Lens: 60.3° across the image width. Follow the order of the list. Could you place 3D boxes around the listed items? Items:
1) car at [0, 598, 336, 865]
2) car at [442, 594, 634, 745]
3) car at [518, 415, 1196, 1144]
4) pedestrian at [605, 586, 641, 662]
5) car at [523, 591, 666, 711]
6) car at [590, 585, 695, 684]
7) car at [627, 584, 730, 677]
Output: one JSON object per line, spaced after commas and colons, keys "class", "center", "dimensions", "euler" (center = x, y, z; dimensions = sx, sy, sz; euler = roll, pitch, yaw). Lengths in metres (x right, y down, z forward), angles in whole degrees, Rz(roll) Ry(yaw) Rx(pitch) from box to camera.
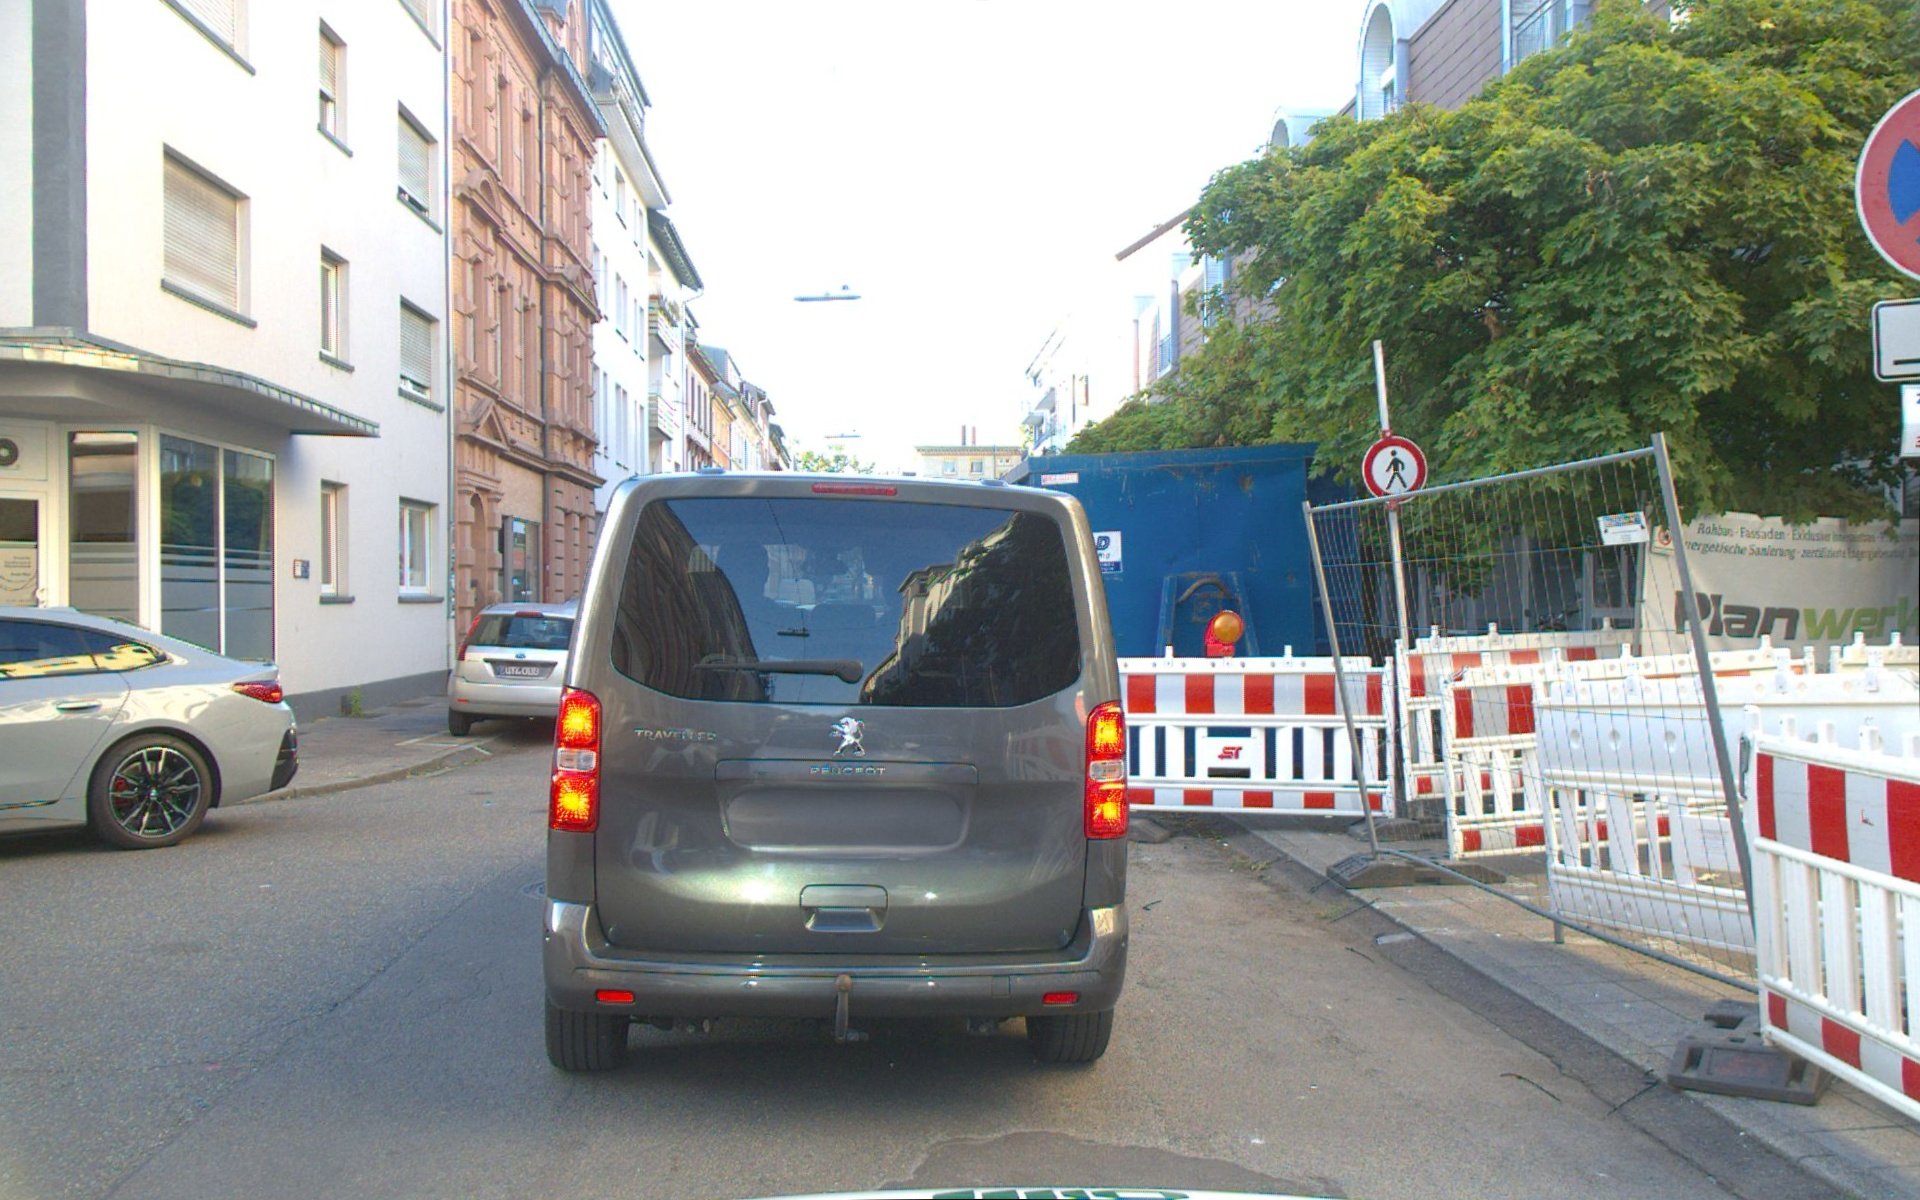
{"class": "car", "center": [-6.329, 0.748, 9.562], "dimensions": [1.900, 1.477, 4.780], "euler": [0, 0, 43]}
{"class": "car", "center": [-4.810, 0.757, 19.254], "dimensions": [1.625, 1.485, 3.413], "euler": [4, -1, -7]}
{"class": "car", "center": [-0.496, 0.494, 6.583], "dimensions": [1.829, 1.919, 4.229], "euler": [0, -1, -7]}
{"class": "pedestrian", "center": [-7.606, 0.539, 37.329], "dimensions": [0.726, 1.693, 0.702], "euler": [-1, 0, -8]}
{"class": "car", "center": [-5.352, 0.724, 24.554], "dimensions": [1.625, 1.552, 3.413], "euler": [4, -1, -7]}
{"class": "car", "center": [-6.023, 0.639, 31.627], "dimensions": [1.635, 1.695, 3.087], "euler": [4, -1, -7]}
{"class": "car", "center": [-5.936, 0.642, 35.273], "dimensions": [1.856, 1.749, 3.748], "euler": [4, -1, -7]}
